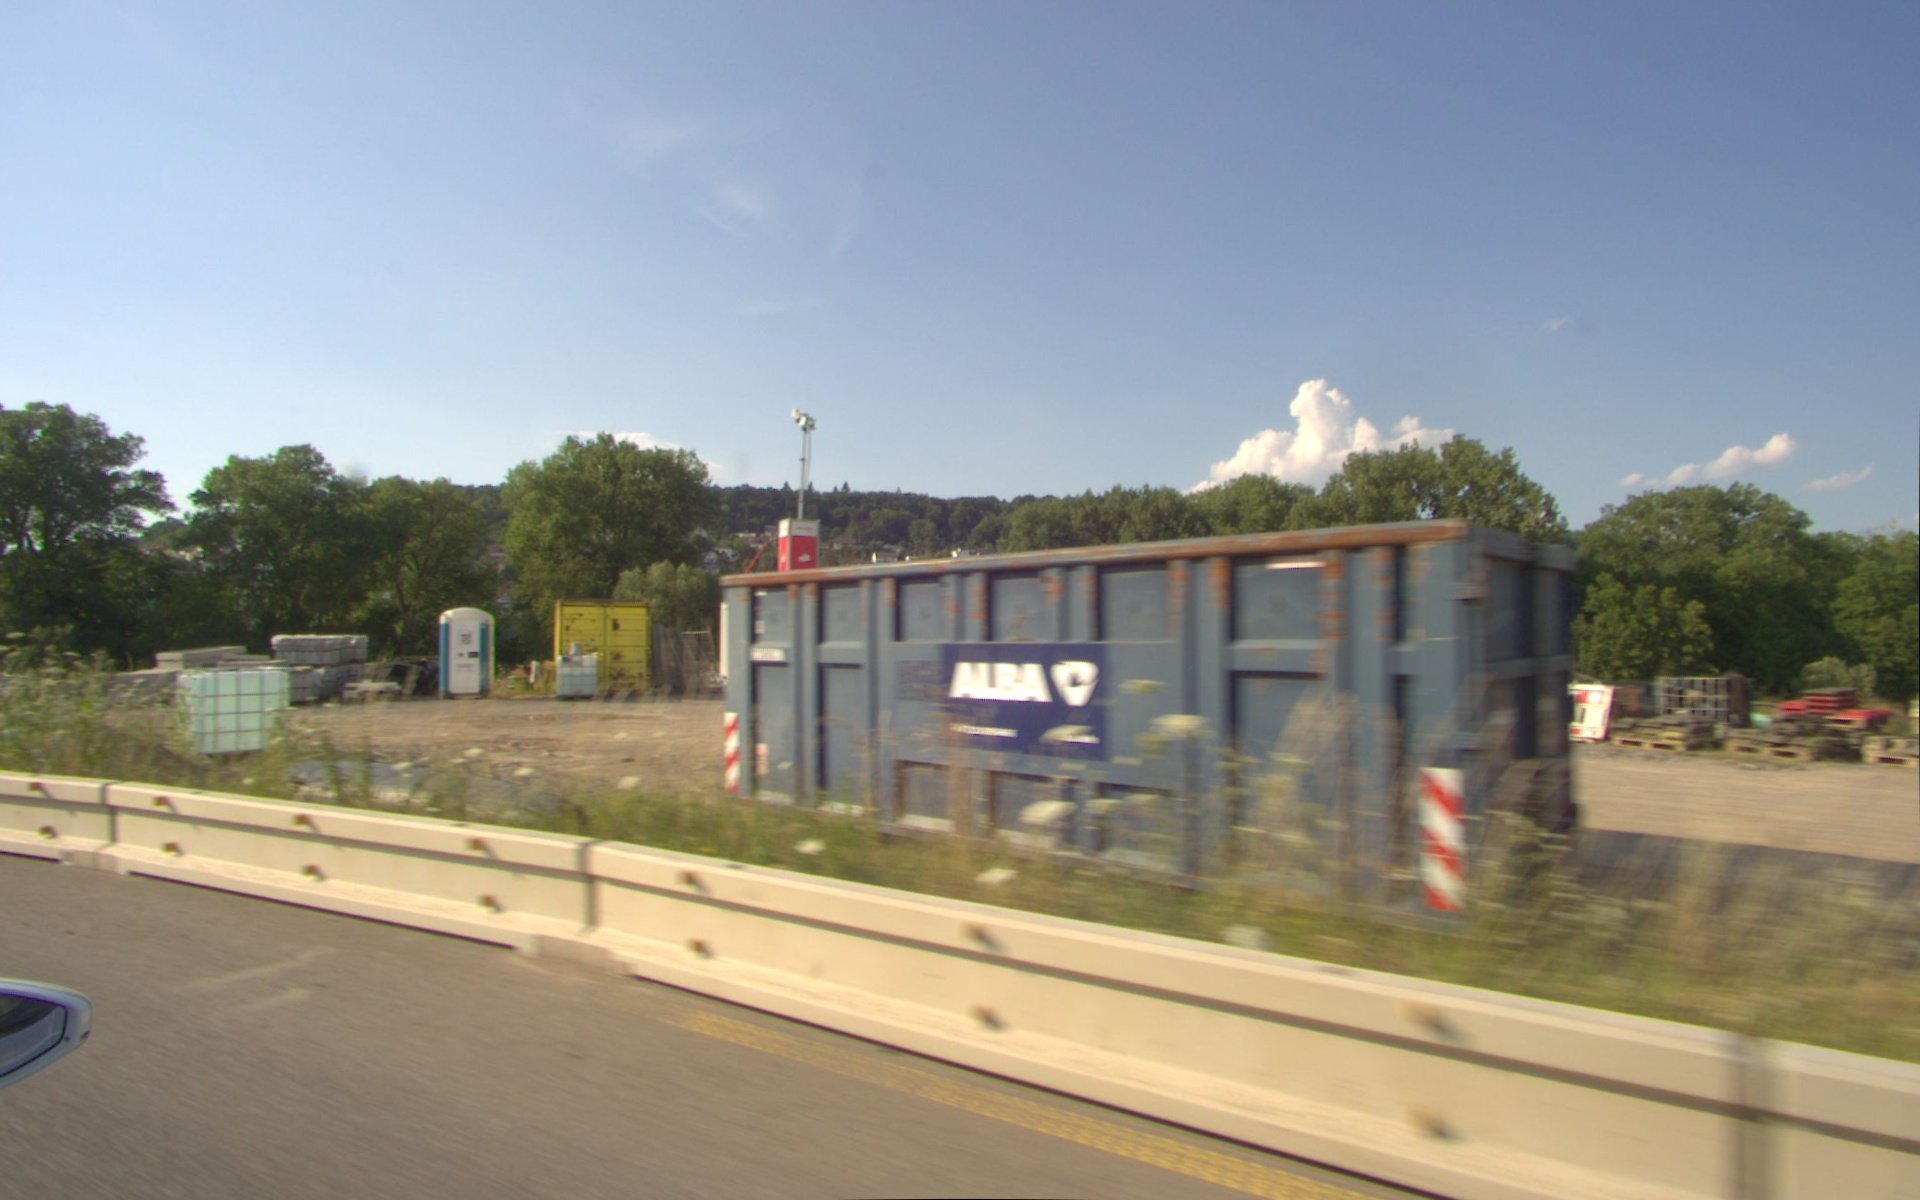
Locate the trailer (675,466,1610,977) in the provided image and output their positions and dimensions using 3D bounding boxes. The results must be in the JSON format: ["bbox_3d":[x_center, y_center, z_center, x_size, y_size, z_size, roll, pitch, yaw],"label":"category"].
[{"bbox_3d":[0.935,0.747,8.321,7.148,2.444,2.990,-2,-4,42],"label":"trailer"}]
